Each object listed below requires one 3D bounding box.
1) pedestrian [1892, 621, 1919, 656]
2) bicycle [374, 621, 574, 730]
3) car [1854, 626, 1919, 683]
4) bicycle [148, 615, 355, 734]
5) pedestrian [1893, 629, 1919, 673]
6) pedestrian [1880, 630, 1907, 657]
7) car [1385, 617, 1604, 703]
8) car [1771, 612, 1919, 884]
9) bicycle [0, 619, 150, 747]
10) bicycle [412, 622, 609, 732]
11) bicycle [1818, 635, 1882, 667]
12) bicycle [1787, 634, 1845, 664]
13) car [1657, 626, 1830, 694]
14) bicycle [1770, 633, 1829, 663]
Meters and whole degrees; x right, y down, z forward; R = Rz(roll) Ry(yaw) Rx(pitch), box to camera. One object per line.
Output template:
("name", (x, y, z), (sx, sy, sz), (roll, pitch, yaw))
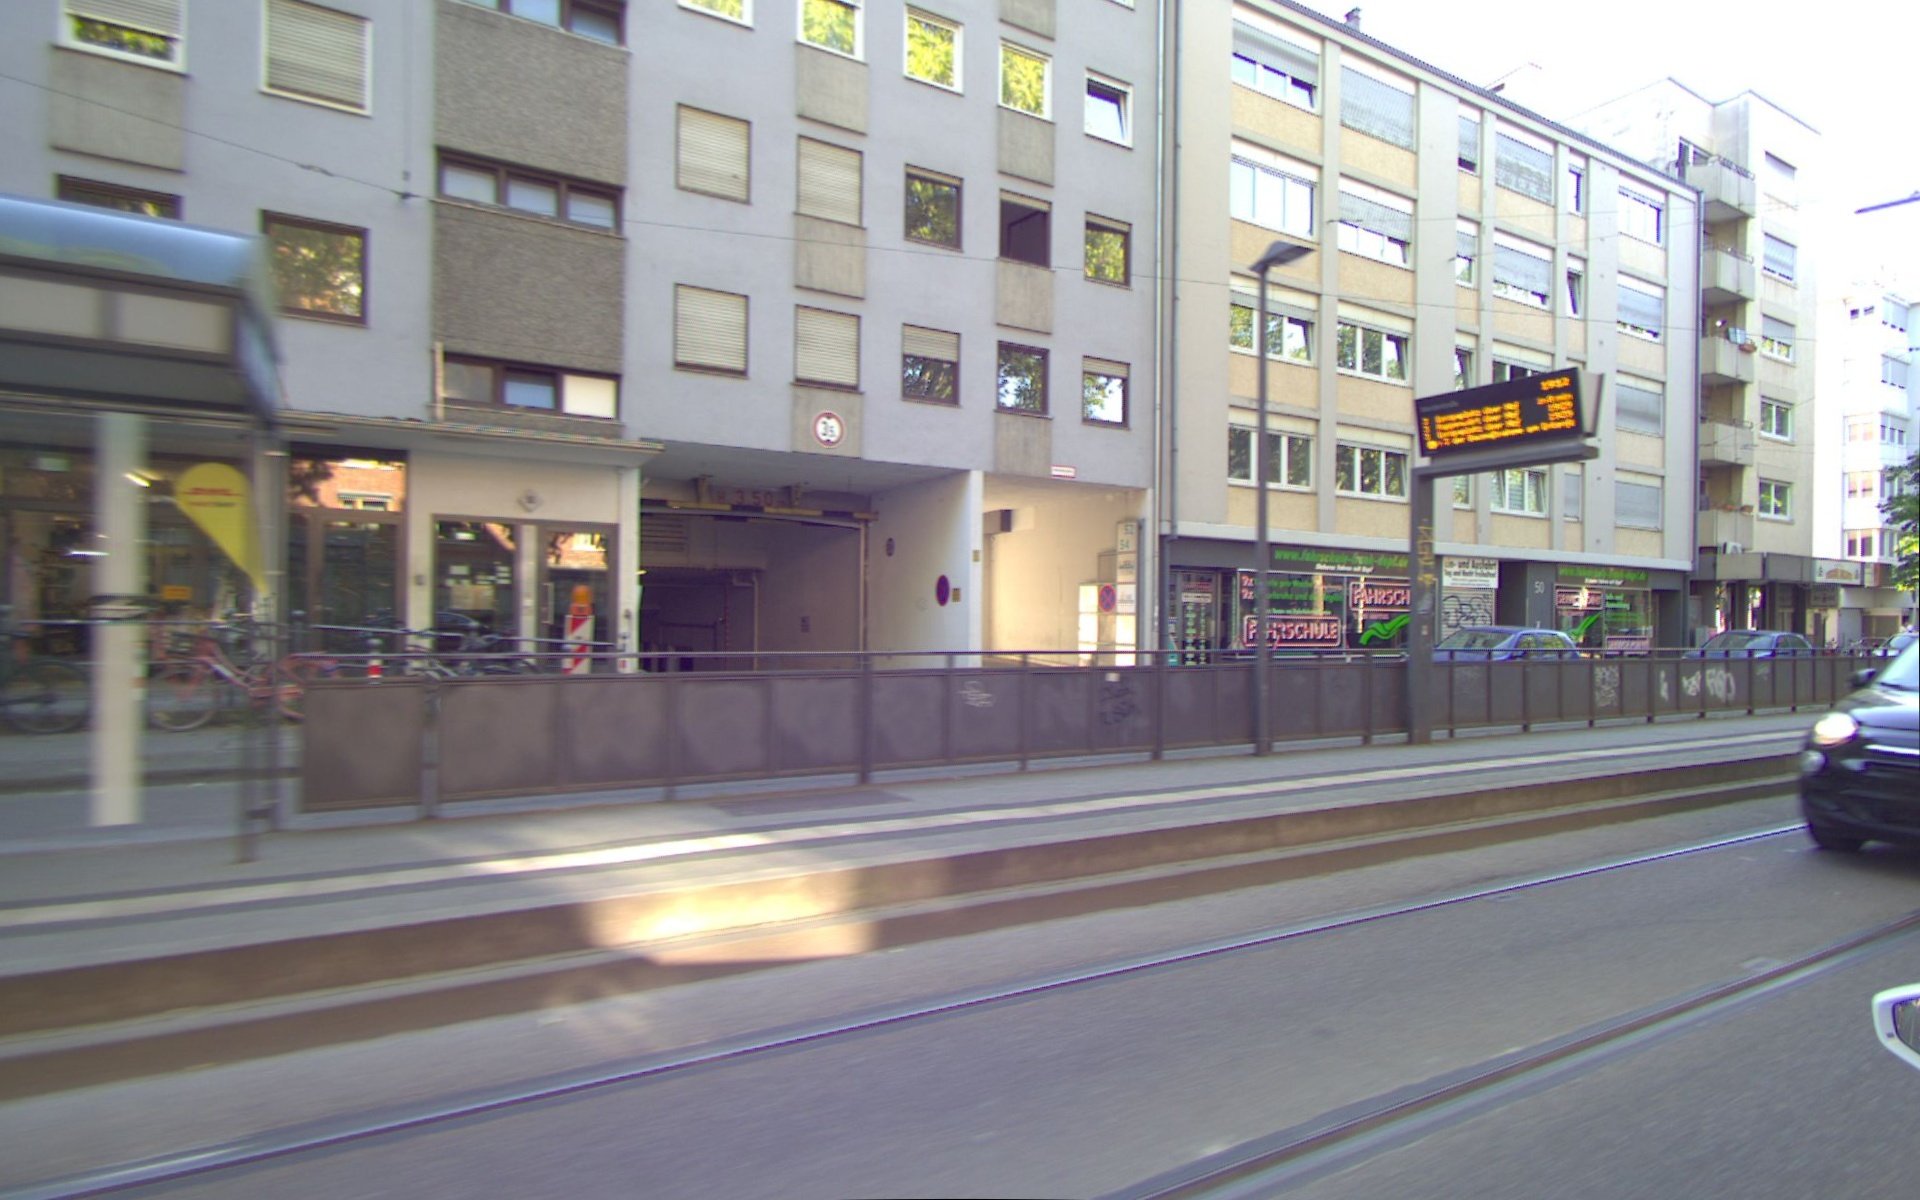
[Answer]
("pedestrian", (45.123, 1.839, 47.935), (0.758, 1.681, 0.745), (1, -1, -24))
("bicycle", (-5.615, 0.837, 11.715), (0.553, 1.172, 2.018), (0, -1, 44))
("car", (30.031, 1.682, 31.481), (4.309, 1.673, 1.868), (1, -2, -32))
("bicycle", (-7.437, 0.754, 10.619), (1.735, 1.172, 0.489), (1, -1, -36))
("pedestrian", (35.267, 1.880, 37.235), (0.711, 1.577, 0.727), (1, -1, -1))
("pedestrian", (44.241, 2.039, 47.614), (0.735, 1.258, 0.768), (0, -1, 26))
("car", (10.325, 1.110, 19.336), (4.232, 1.483, 1.786), (1, -2, -30))
("car", (7.458, 0.914, 6.863), (3.954, 1.610, 1.753), (1, -1, -31))
("bicycle", (-9.007, 0.770, 9.519), (2.018, 1.172, 0.566), (1, -1, -36))
("bicycle", (-5.178, 0.852, 11.686), (0.553, 1.172, 2.018), (0, -1, 44))
("bicycle", (35.308, 2.007, 39.881), (0.564, 1.172, 1.853), (1, -1, -25))
("bicycle", (35.302, 2.008, 41.449), (0.563, 1.172, 1.782), (1, -1, -19))
("car", (19.525, 1.444, 25.015), (4.337, 1.565, 1.947), (1, -2, -30))
("bicycle", (34.427, 1.975, 41.212), (0.567, 1.172, 1.771), (1, -1, -36))
